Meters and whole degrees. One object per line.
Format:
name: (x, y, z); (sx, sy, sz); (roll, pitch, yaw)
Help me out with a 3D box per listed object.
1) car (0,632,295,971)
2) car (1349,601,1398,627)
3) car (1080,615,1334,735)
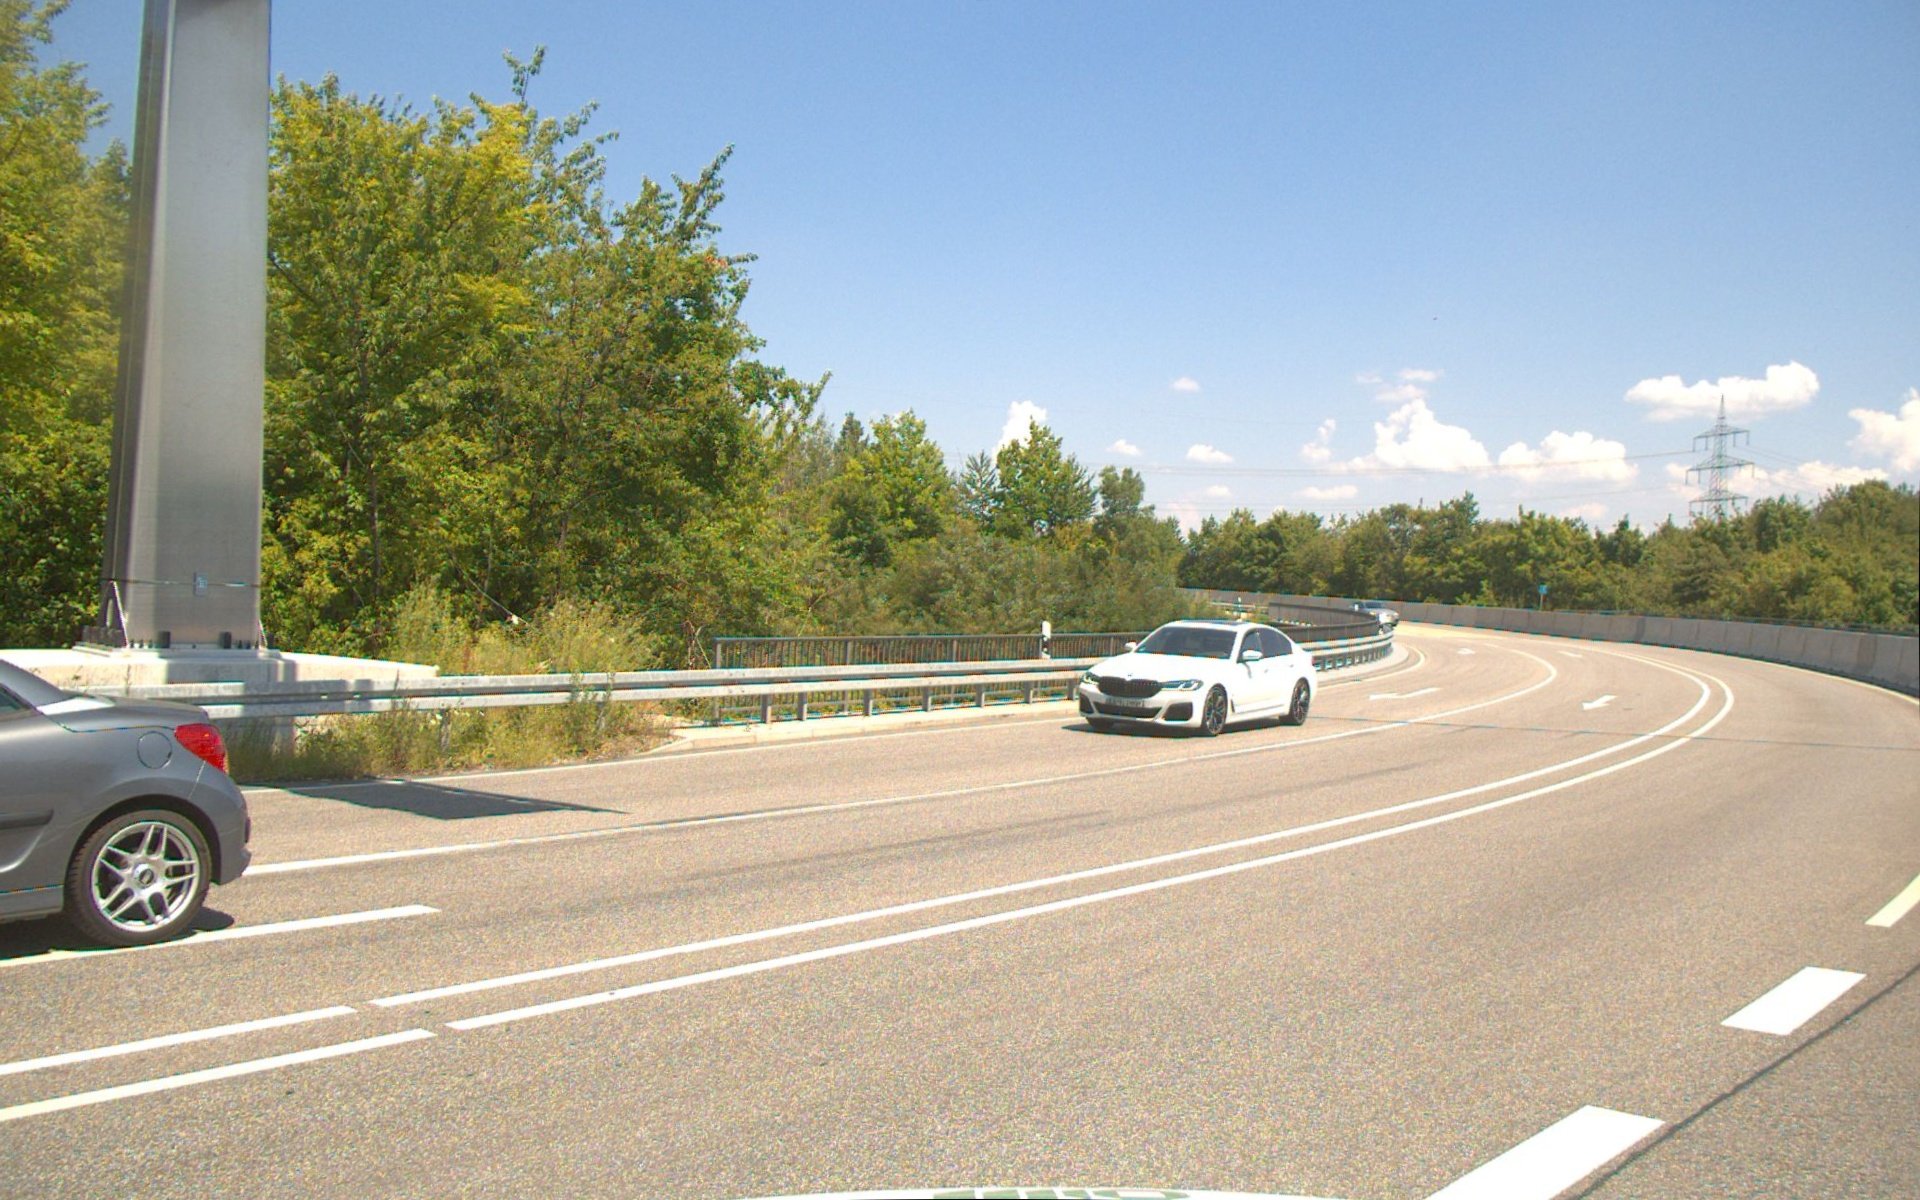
car: (-4.988, 0.839, 6.763); (1.620, 1.376, 3.948); (-2, -1, 39)
car: (23.535, 0.763, 94.184); (1.742, 1.409, 4.282); (1, 0, 0)
car: (3.612, 0.988, 23.389); (1.804, 1.510, 4.825); (-1, -1, 32)
